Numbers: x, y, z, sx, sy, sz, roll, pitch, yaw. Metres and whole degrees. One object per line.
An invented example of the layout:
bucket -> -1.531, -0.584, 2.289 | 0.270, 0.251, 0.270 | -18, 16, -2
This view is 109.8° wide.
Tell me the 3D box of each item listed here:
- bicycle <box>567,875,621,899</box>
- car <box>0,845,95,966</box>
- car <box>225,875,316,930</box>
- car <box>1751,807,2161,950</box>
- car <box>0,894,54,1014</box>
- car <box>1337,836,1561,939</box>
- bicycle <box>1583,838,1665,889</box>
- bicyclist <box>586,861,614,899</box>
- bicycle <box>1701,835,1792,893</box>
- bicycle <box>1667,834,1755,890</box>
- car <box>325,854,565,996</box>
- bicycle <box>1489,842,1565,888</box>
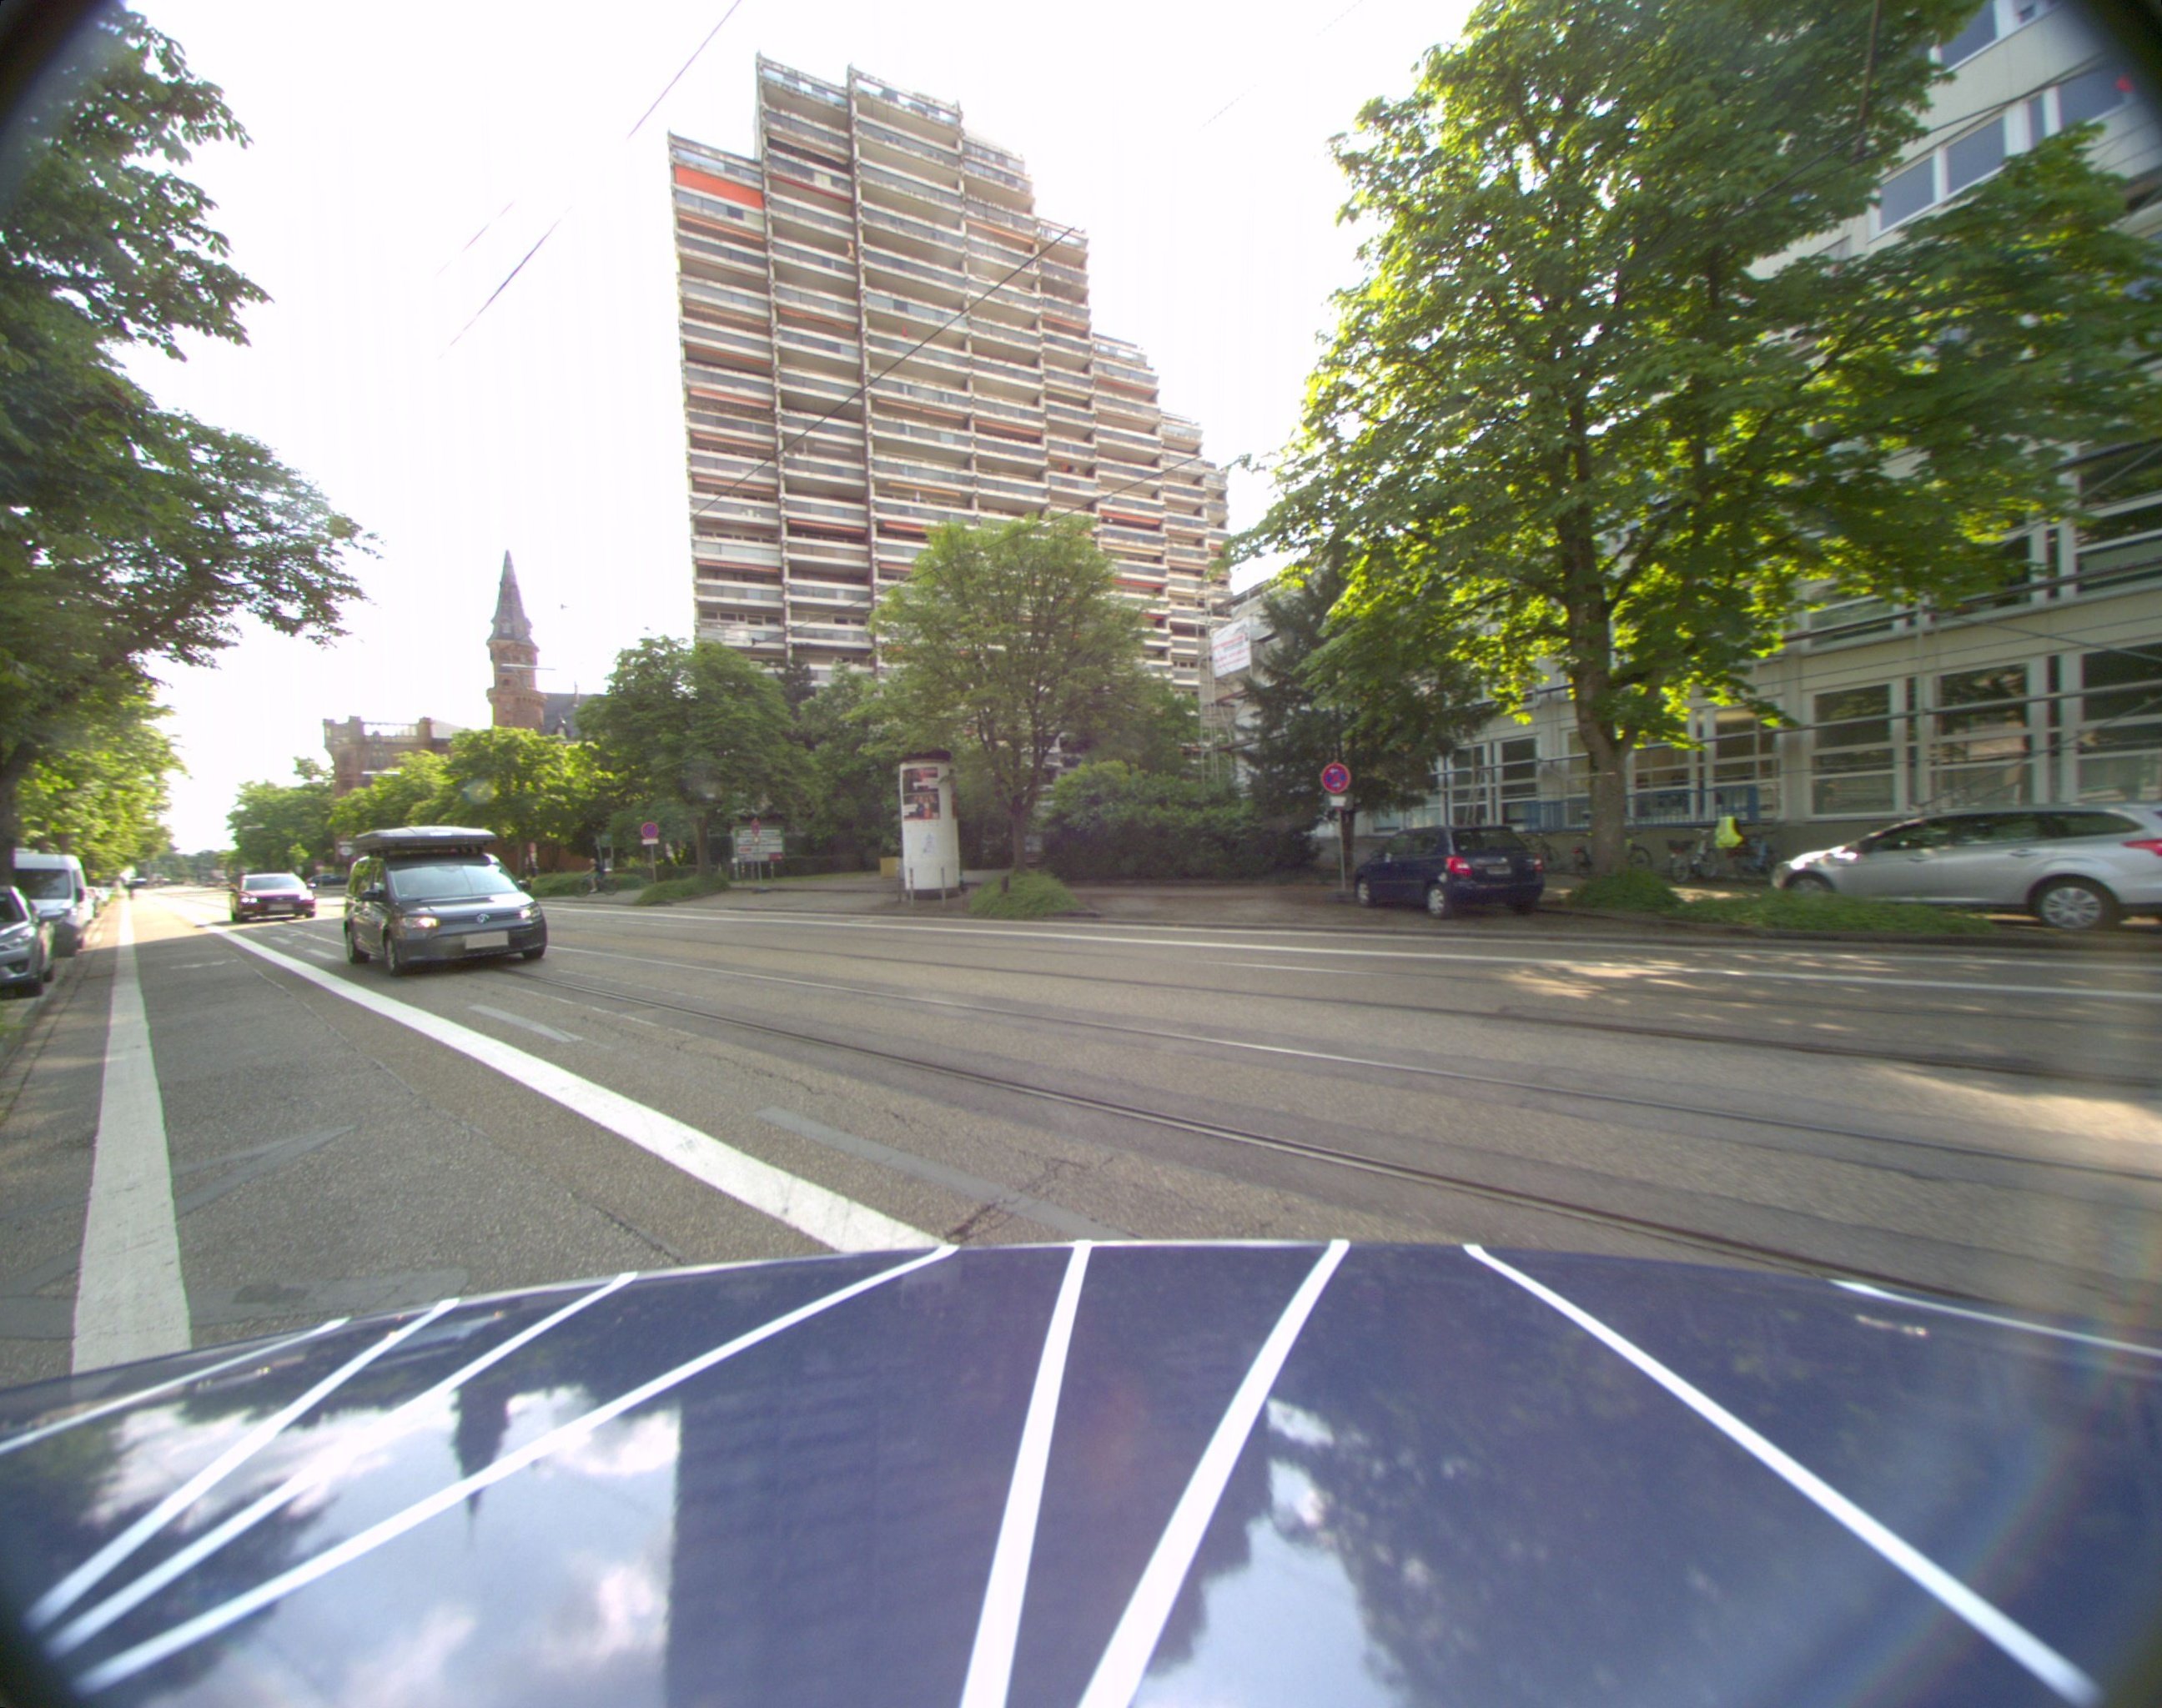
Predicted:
bicycle -> -22.407, 1.522, 35.014 | 1.983, 0.974, 0.568 | -3, 0, -10
car -> -25.194, 1.207, 17.990 | 5.903, 2.551, 2.134 | -3, -2, 39
car -> -29.135, 1.680, 27.281 | 3.959, 1.604, 1.681 | -1, 7, 38
car -> 11.362, 0.230, 9.452 | 1.740, 1.418, 4.459 | -2, 0, -8
car -> -16.609, 1.468, 11.062 | 4.447, 1.597, 1.775 | -4, -3, 39
car -> 6.182, 0.507, 13.350 | 1.759, 1.453, 3.999 | -3, 0, -3
bicycle -> 12.784, 0.215, 17.874 | 2.058, 1.080, 0.496 | -3, 0, -22
bicyclist -> -22.181, 1.189, 35.058 | 0.781, 1.730, 0.725 | -3, 0, -8
bicycle -> 13.758, 0.189, 15.698 | 2.058, 1.080, 0.496 | -3, 0, -22
bicycle -> 13.552, 0.157, 16.322 | 2.058, 1.080, 0.496 | -3, 0, -22
car -> -10.352, 0.978, 12.230 | 4.823, 1.764, 1.950 | -1, 3, 39
bicycle -> 11.530, 0.280, 19.639 | 2.058, 1.080, 0.496 | -3, 0, -22
